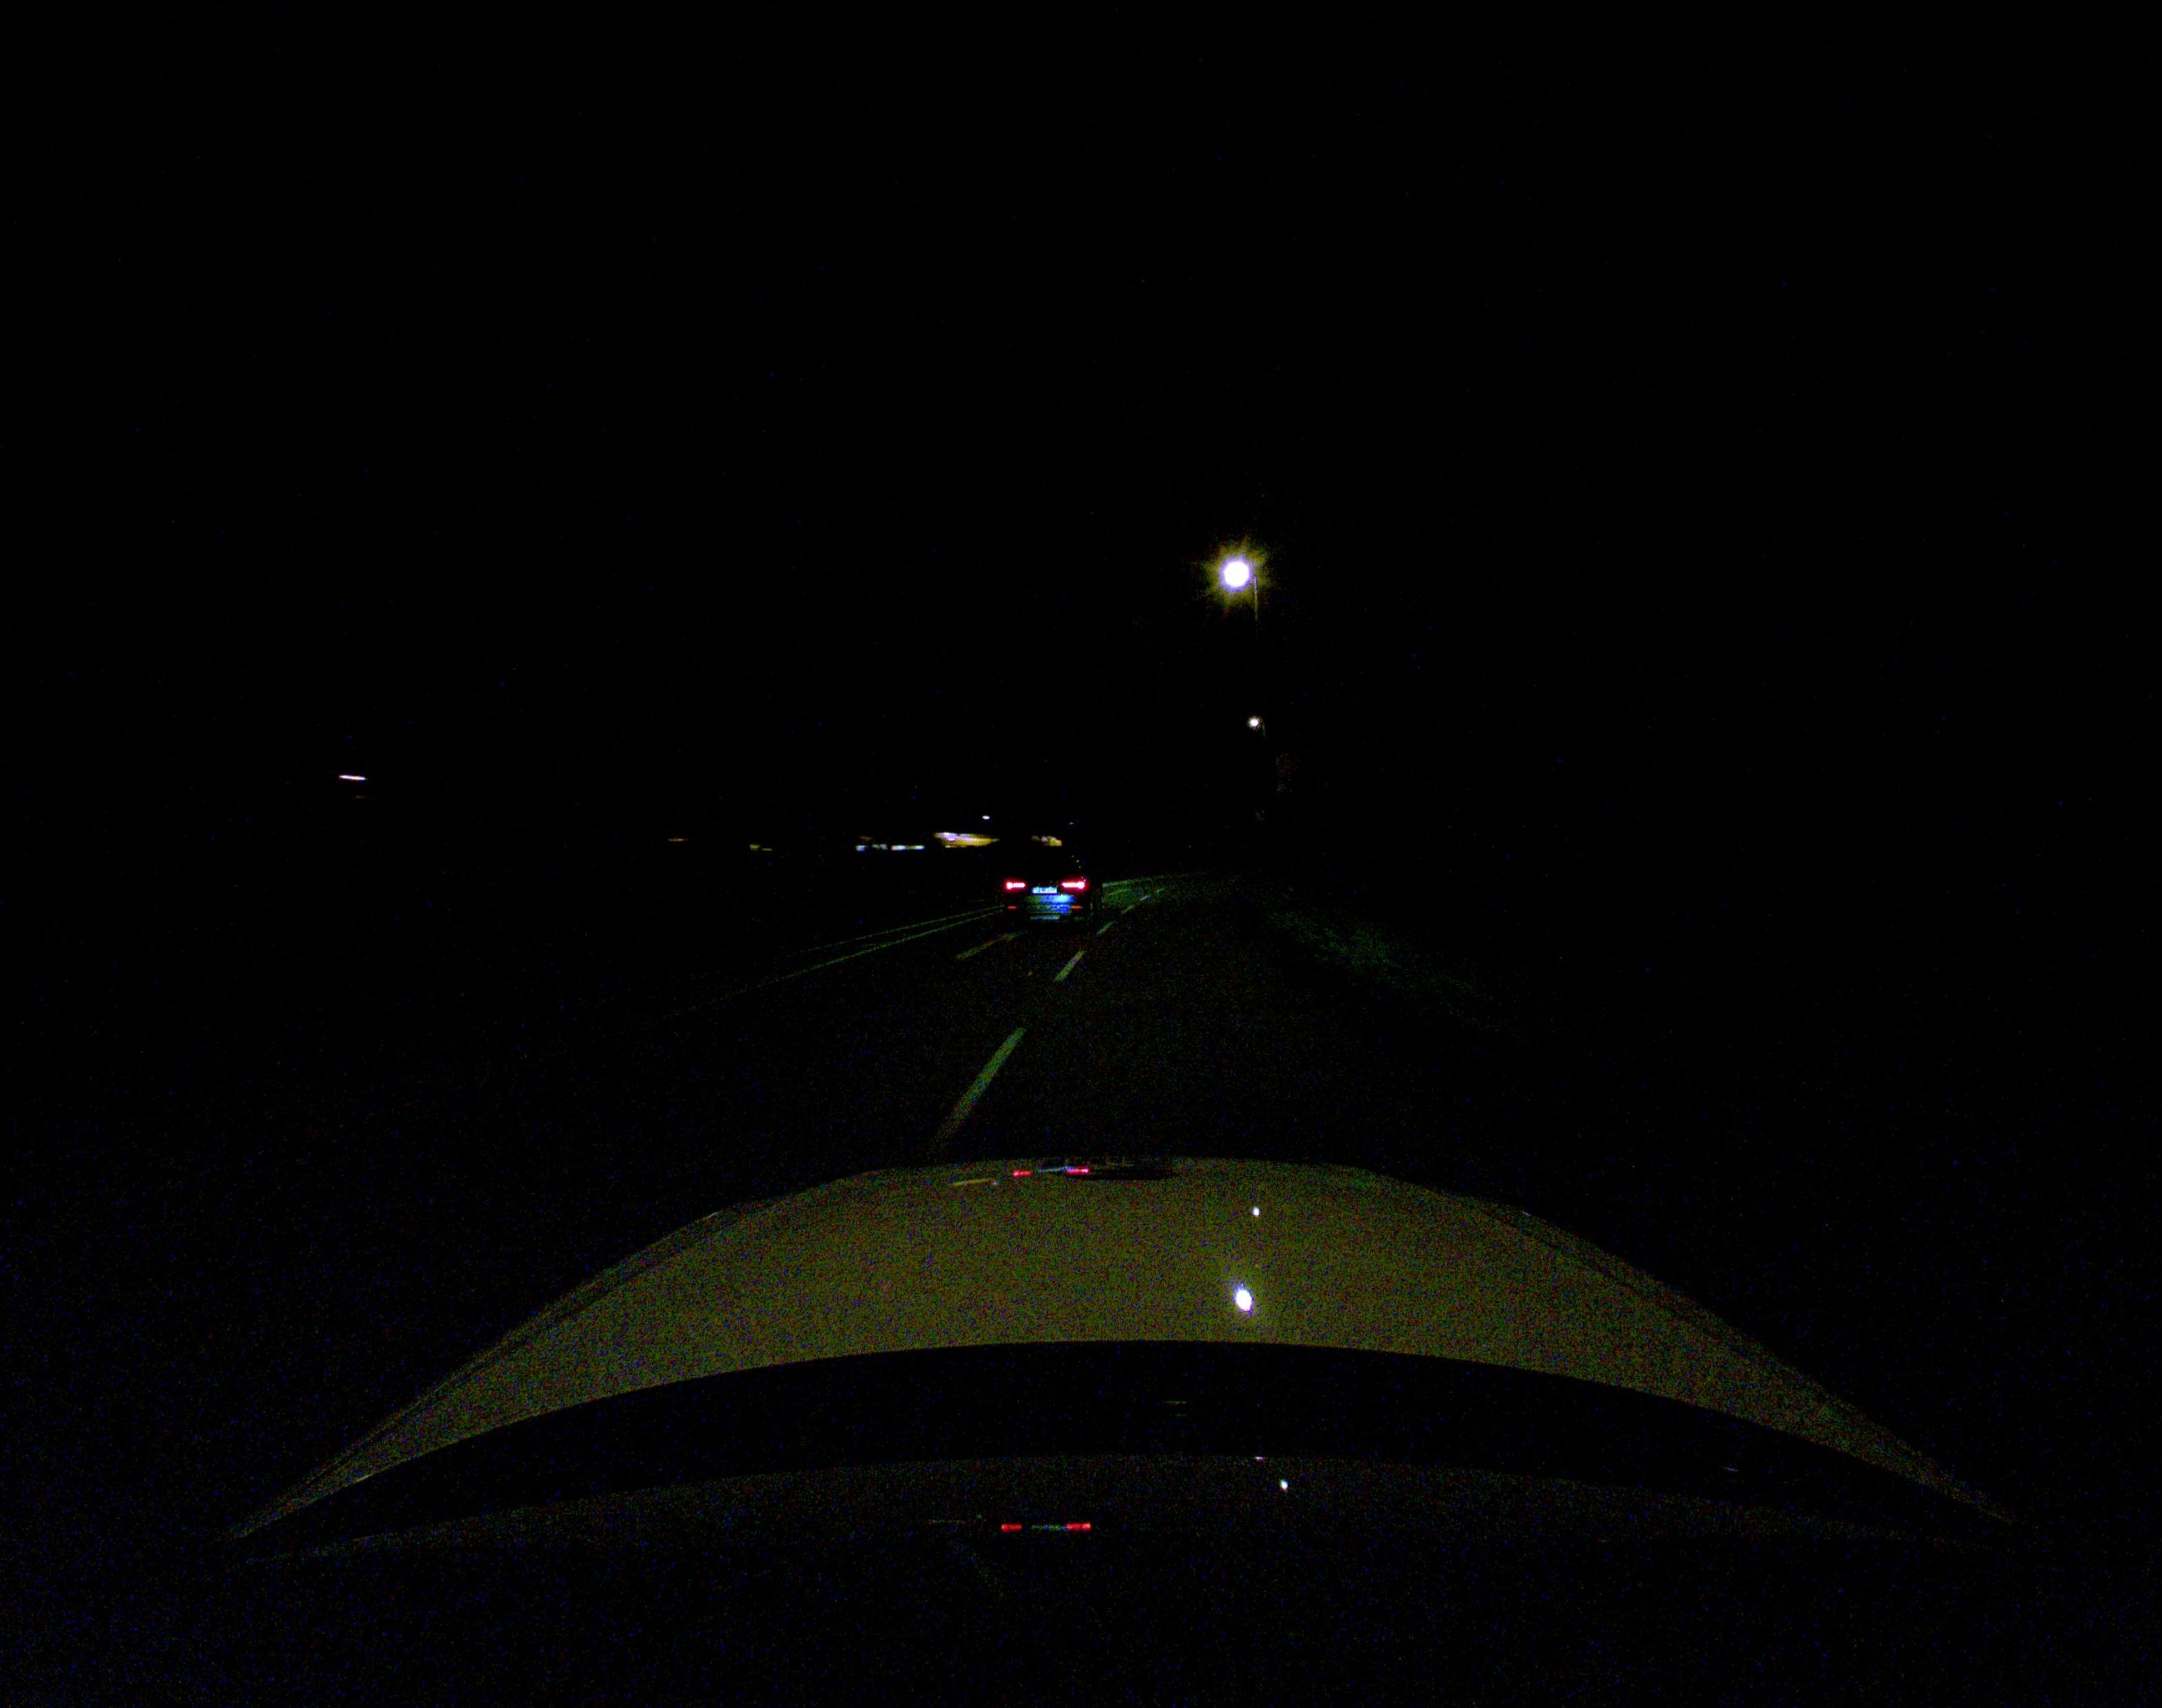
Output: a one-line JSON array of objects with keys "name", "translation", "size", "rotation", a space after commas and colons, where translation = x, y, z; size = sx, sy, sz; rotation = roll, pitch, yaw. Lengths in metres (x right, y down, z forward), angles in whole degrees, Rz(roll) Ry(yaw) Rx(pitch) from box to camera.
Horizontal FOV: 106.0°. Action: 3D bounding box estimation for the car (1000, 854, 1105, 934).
[{"name": "car", "translation": [-0.518, 0.802, 18.222], "size": [1.806, 1.573, 3.949], "rotation": [0, 0, 6]}]
